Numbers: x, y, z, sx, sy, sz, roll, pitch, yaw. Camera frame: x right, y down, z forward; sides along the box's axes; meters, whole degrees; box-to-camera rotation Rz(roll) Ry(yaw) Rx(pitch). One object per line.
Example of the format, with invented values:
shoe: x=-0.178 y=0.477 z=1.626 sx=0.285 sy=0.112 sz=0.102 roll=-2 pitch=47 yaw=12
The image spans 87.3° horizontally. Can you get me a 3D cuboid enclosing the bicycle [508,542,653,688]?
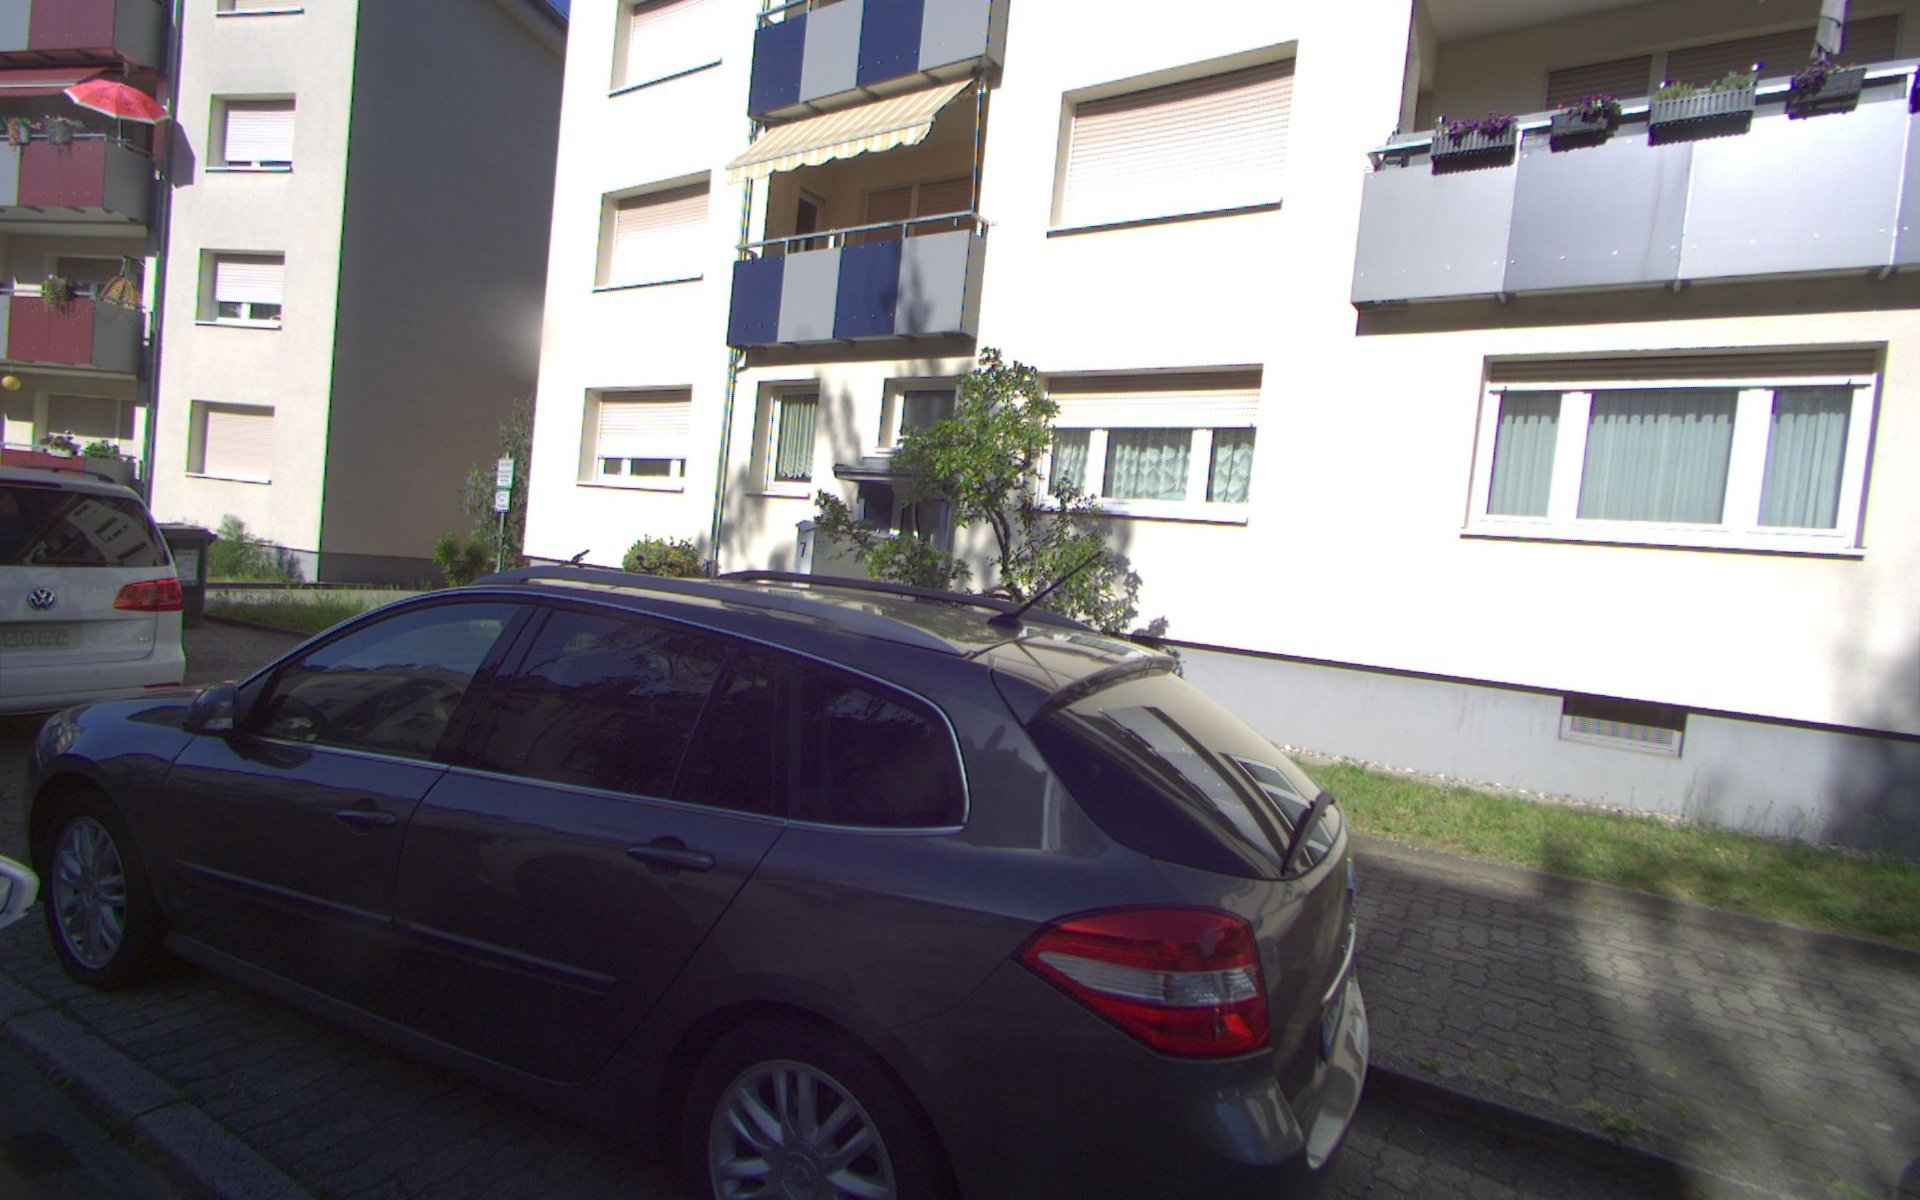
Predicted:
bicycle: x=-3.734 y=0.108 z=9.825 sx=1.736 sy=1.220 sz=0.513 roll=8 pitch=5 yaw=41

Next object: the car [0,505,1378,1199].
car: x=-1.237 y=0.570 z=3.283 sx=4.604 sy=1.453 sz=1.693 roll=6 pitch=6 yaw=26

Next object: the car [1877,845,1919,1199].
car: x=3.698 y=1.120 z=0.388 sx=4.647 sy=1.465 sz=1.679 roll=6 pitch=0 yaw=33

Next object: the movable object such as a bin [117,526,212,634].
movable object such as a bin: x=-8.314 y=-0.217 z=10.518 sx=0.630 sy=1.071 sz=0.583 roll=5 pitch=5 yaw=31

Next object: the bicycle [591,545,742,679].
bicycle: x=-3.140 y=0.092 z=10.666 sx=1.805 sy=1.220 sz=0.513 roll=7 pitch=5 yaw=37

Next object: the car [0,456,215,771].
car: x=-6.936 y=-0.128 z=6.426 sx=4.312 sy=1.679 sz=1.695 roll=6 pitch=4 yaw=26
